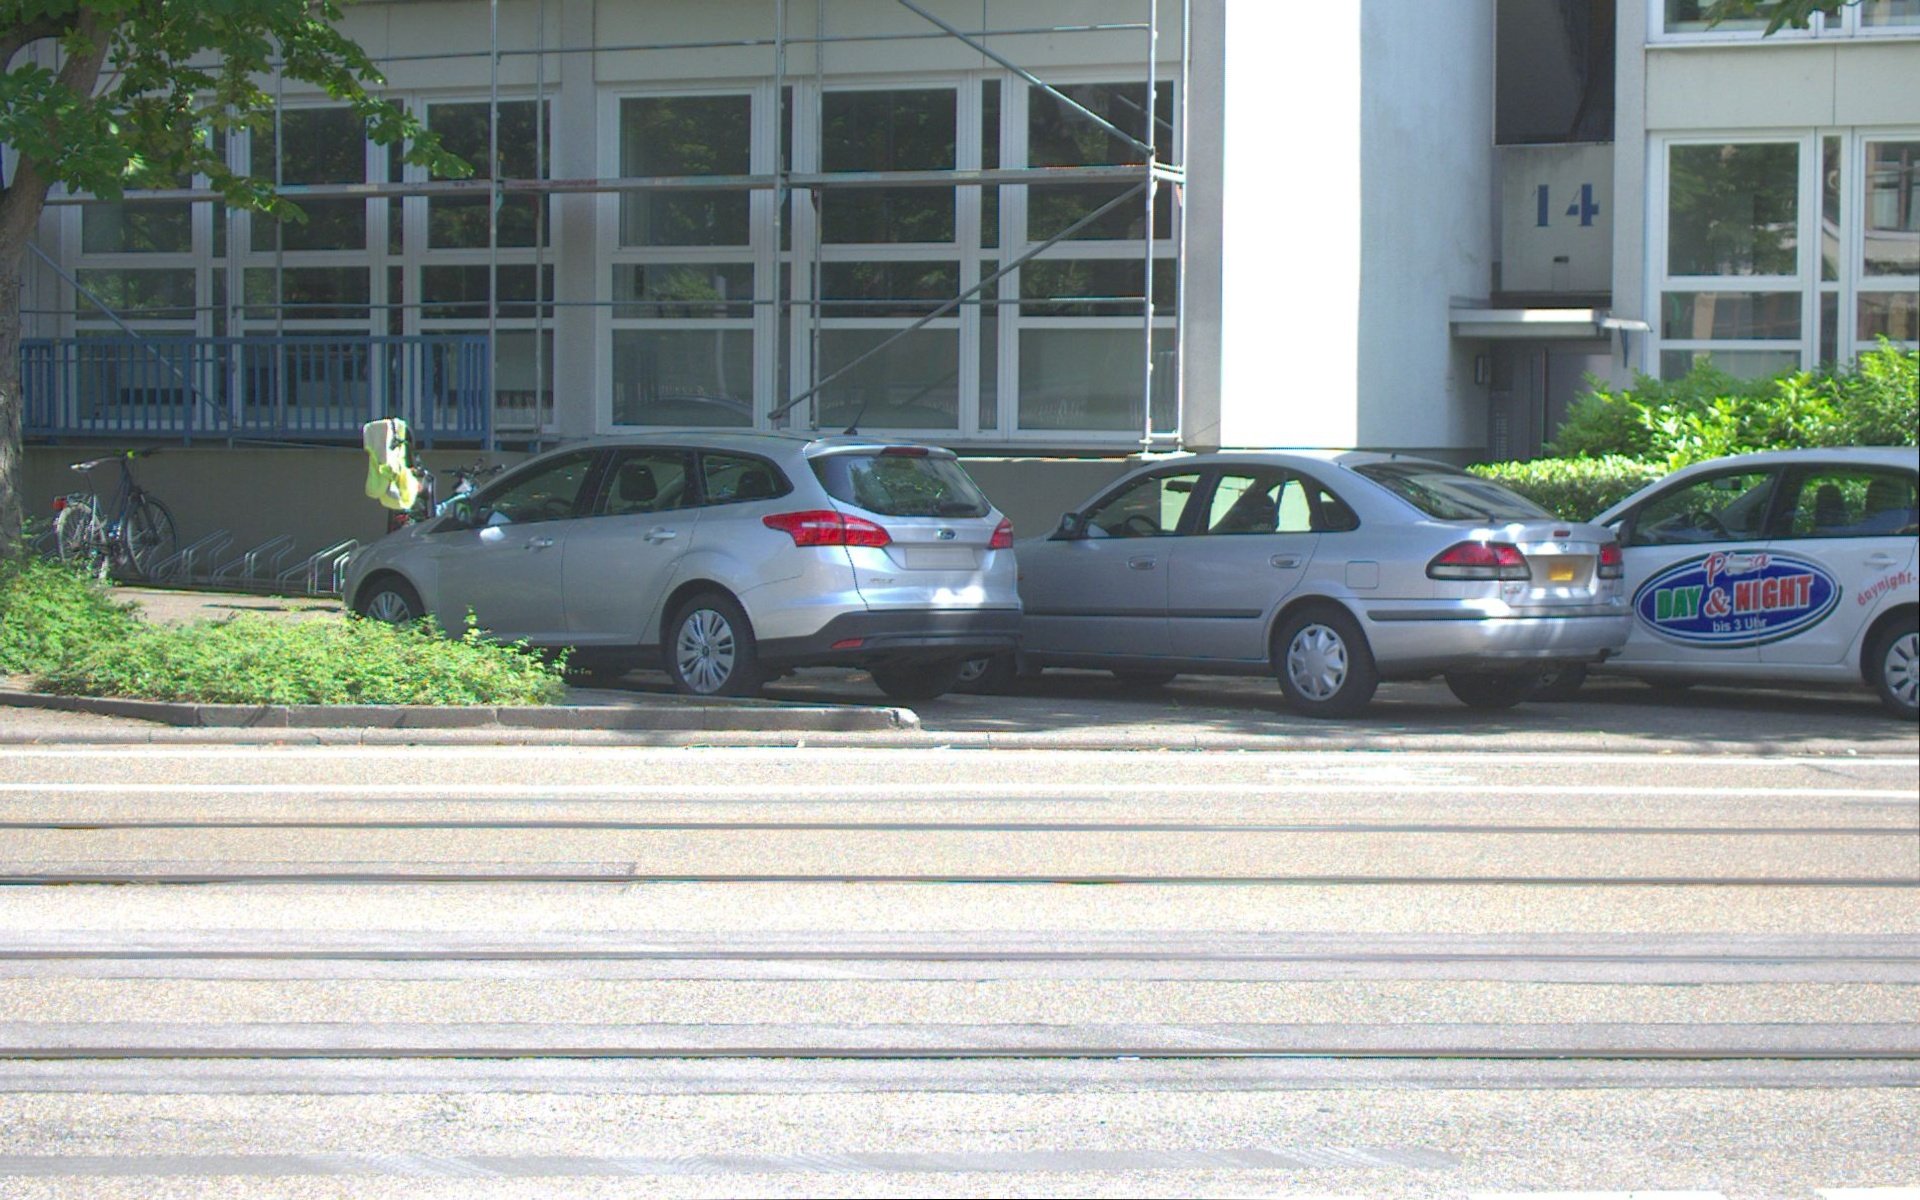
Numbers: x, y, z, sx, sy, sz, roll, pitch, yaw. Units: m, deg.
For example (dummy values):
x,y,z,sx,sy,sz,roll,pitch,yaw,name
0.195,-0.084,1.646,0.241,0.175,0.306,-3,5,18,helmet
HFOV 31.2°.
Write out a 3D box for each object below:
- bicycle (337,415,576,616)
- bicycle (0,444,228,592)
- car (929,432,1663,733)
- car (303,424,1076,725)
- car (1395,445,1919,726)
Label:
x,y,z,sx,sy,sz,roll,pitch,yaw,name
-3.765,-0.658,25.886,0.662,1.448,2.087,2,3,28,bicycle
-6.539,-0.662,26.685,0.741,1.082,2.202,1,3,15,bicycle
1.800,-0.176,19.313,3.943,1.481,1.609,3,4,44,car
-1.625,-0.228,19.429,4.432,1.481,1.780,3,4,42,car
4.578,-0.137,19.685,3.942,1.481,1.609,2,3,43,car
